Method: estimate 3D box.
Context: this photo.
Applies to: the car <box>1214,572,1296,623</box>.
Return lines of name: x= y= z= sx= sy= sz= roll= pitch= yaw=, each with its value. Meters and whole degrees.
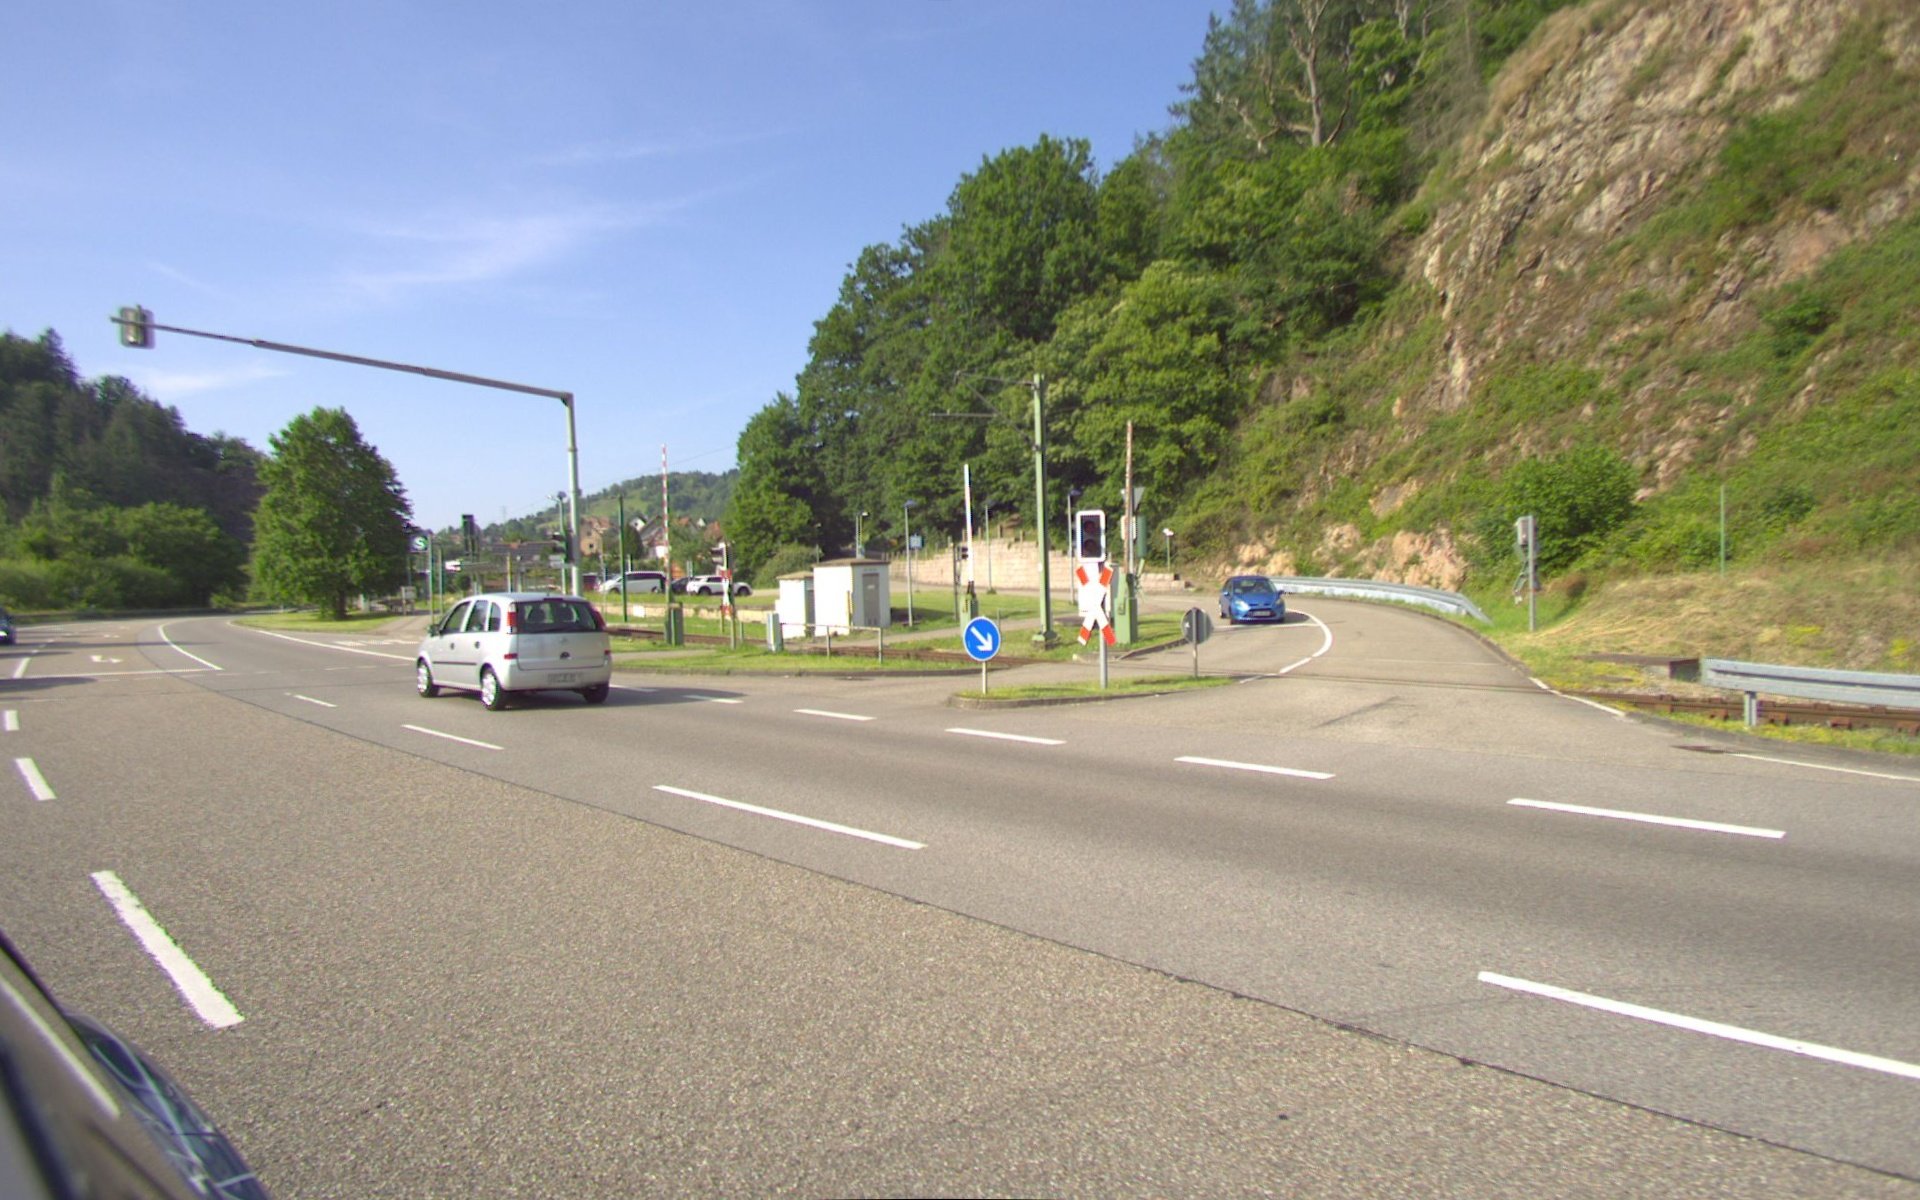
car: x=9.474 y=-0.085 z=32.815 sx=1.871 sy=1.519 sz=3.992 roll=0 pitch=0 yaw=6

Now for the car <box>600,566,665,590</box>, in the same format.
car: x=-25.293 y=-1.689 z=78.134 sx=4.379 sy=1.817 sz=2.006 roll=-1 pitch=1 yaw=-33

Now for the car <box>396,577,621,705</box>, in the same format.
car: x=-6.899 y=0.528 z=15.257 sx=4.173 sy=1.669 sz=1.673 roll=0 pitch=0 yaw=44

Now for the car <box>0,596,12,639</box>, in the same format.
car: x=-35.221 y=0.608 z=36.201 sx=1.841 sy=1.503 sz=4.004 roll=-1 pitch=0 yaw=-43

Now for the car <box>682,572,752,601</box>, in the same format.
car: x=-15.304 y=-0.859 z=63.845 sx=3.933 sy=1.763 sz=1.645 roll=-1 pitch=0 yaw=-33
